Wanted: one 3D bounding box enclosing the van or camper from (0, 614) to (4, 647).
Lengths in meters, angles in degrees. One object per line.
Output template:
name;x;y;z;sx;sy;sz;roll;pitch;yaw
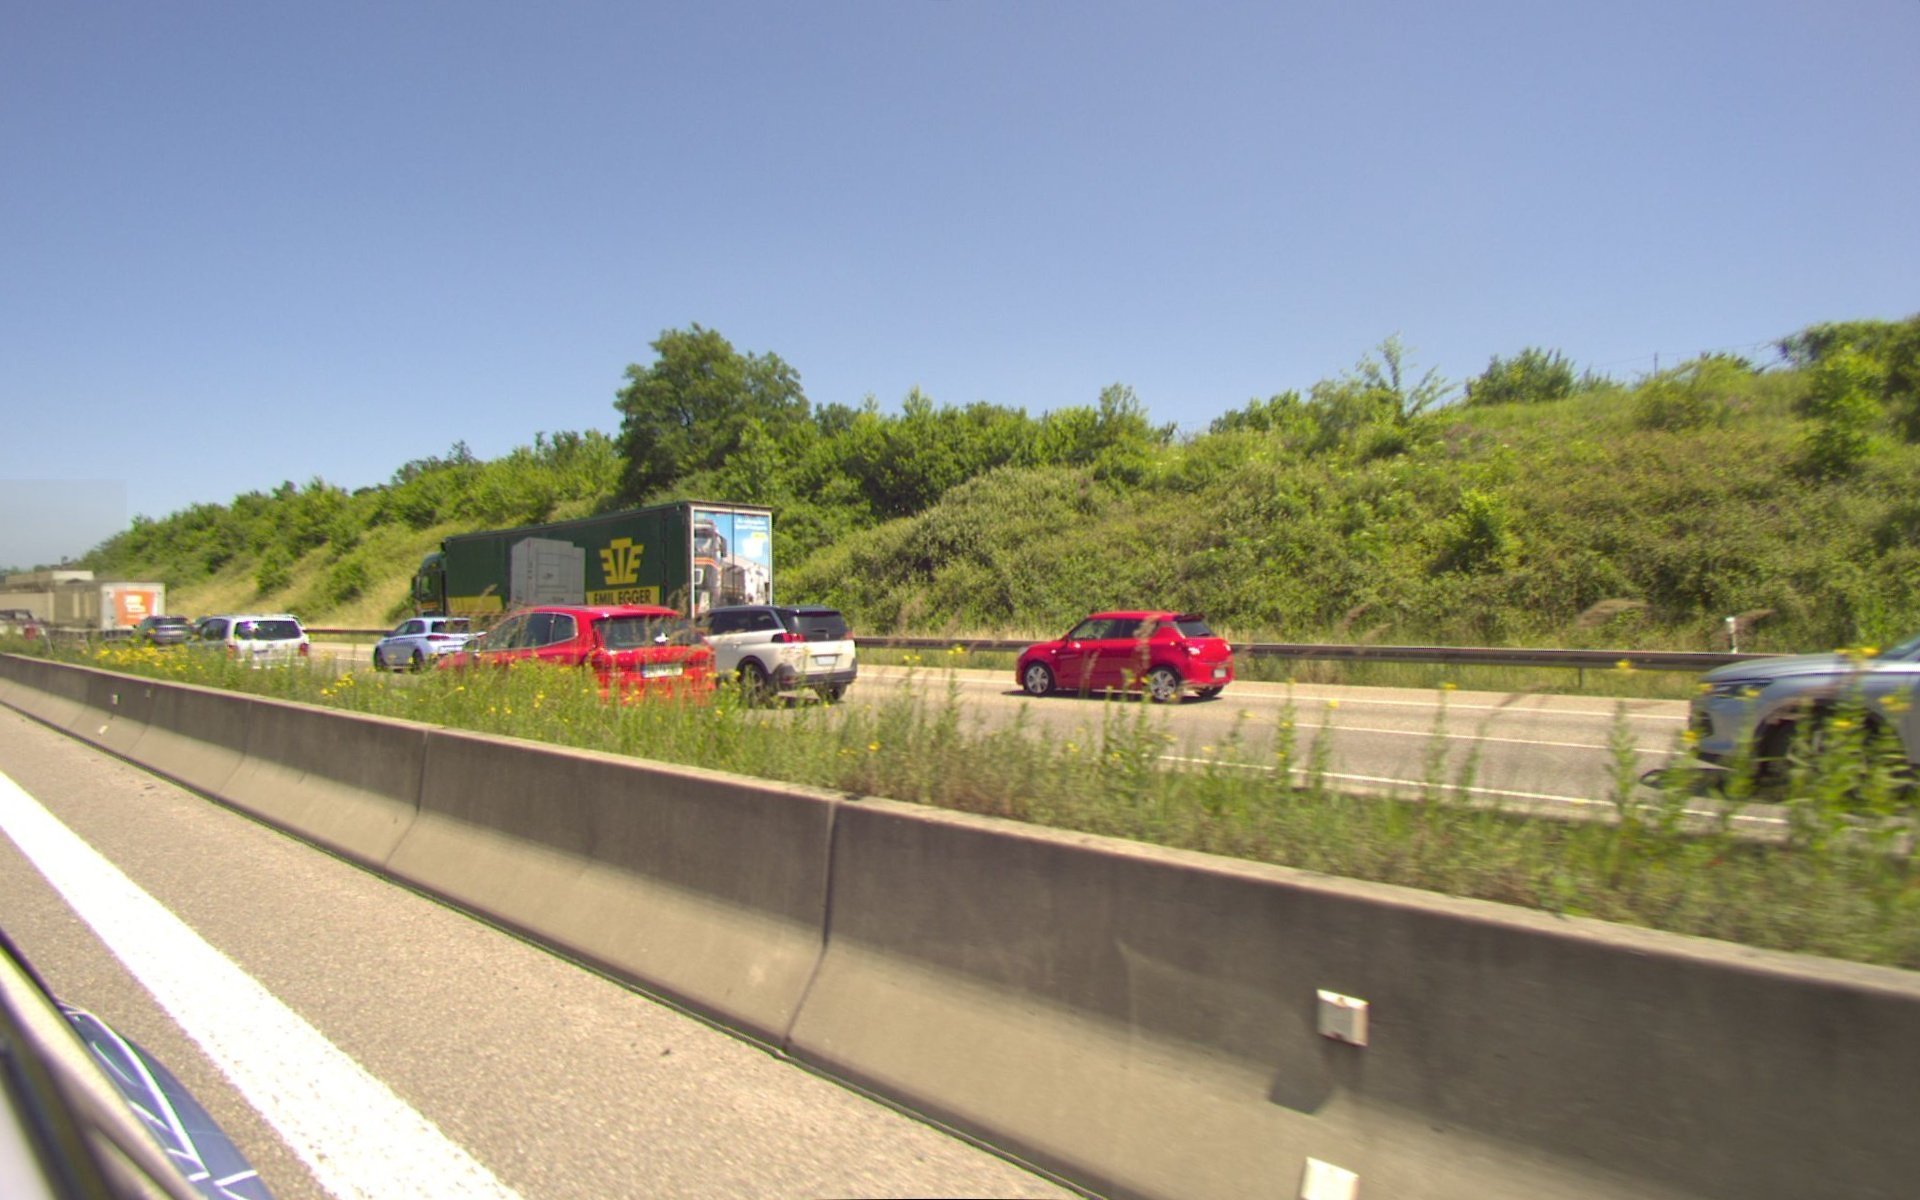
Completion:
van or camper;-88.175;2.754;91.384;7.533;2.961;2.173;-1;-1;43

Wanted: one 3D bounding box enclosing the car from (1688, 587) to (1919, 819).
car;8.233;0.716;7.105;4.907;1.641;1.792;-1;-1;42

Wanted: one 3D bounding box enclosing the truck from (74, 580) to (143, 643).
truck;-64.970;0.898;77.146;8.603;4.550;2.911;-1;-1;42

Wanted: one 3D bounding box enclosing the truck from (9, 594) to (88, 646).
truck;-85.914;1.845;95.230;16.667;4.490;3.658;-1;-1;41

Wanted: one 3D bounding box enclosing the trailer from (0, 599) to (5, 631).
trailer;-118.108;1.899;122.421;10.674;3.761;2.583;-2;-1;41

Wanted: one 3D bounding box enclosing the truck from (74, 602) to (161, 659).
truck;-45.156;1.576;54.188;6.749;2.866;2.542;-1;-1;41

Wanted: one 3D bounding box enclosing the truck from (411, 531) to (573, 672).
truck;-15.449;0.072;33.254;5.626;4.235;2.790;-1;-1;41

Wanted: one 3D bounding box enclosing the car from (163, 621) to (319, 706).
car;-17.044;1.399;23.894;4.986;1.778;1.809;-1;-1;40

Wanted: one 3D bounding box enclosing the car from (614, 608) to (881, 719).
car;-3.824;0.989;17.558;5.217;1.641;1.792;-1;-1;42

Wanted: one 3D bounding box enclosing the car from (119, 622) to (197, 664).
car;-36.739;1.908;46.317;4.986;1.778;1.809;-1;-1;40

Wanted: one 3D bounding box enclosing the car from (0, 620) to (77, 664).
car;-39.589;1.754;43.423;4.986;1.778;1.809;-1;-1;40

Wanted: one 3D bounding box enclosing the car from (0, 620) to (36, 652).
car;-49.115;1.825;51.961;5.107;1.577;1.809;-1;-1;40

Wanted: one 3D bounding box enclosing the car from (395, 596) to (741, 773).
car;-4.994;0.880;12.491;4.986;1.778;1.809;-1;-1;40

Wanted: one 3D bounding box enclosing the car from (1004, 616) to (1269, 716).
car;2.903;1.022;17.187;4.121;1.478;1.792;-1;-1;42

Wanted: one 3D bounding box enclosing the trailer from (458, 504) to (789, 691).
trailer;-9.986;0.010;28.478;12.781;4.294;2.813;-1;-1;42

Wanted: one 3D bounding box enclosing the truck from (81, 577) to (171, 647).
truck;-59.951;0.874;72.574;13.920;4.577;2.963;-1;-1;42

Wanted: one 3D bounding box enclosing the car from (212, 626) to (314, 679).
car;-25.595;1.856;37.096;4.986;1.778;1.809;-1;-1;40

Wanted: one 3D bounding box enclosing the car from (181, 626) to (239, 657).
car;-42.397;2.324;57.170;4.366;1.599;1.715;-1;-1;41

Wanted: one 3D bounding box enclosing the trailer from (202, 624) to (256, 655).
trailer;-39.504;2.100;54.670;3.220;1.599;1.677;-1;-1;41

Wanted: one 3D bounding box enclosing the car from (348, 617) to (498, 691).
car;-14.400;1.355;27.010;4.986;1.778;1.809;-1;-1;40
